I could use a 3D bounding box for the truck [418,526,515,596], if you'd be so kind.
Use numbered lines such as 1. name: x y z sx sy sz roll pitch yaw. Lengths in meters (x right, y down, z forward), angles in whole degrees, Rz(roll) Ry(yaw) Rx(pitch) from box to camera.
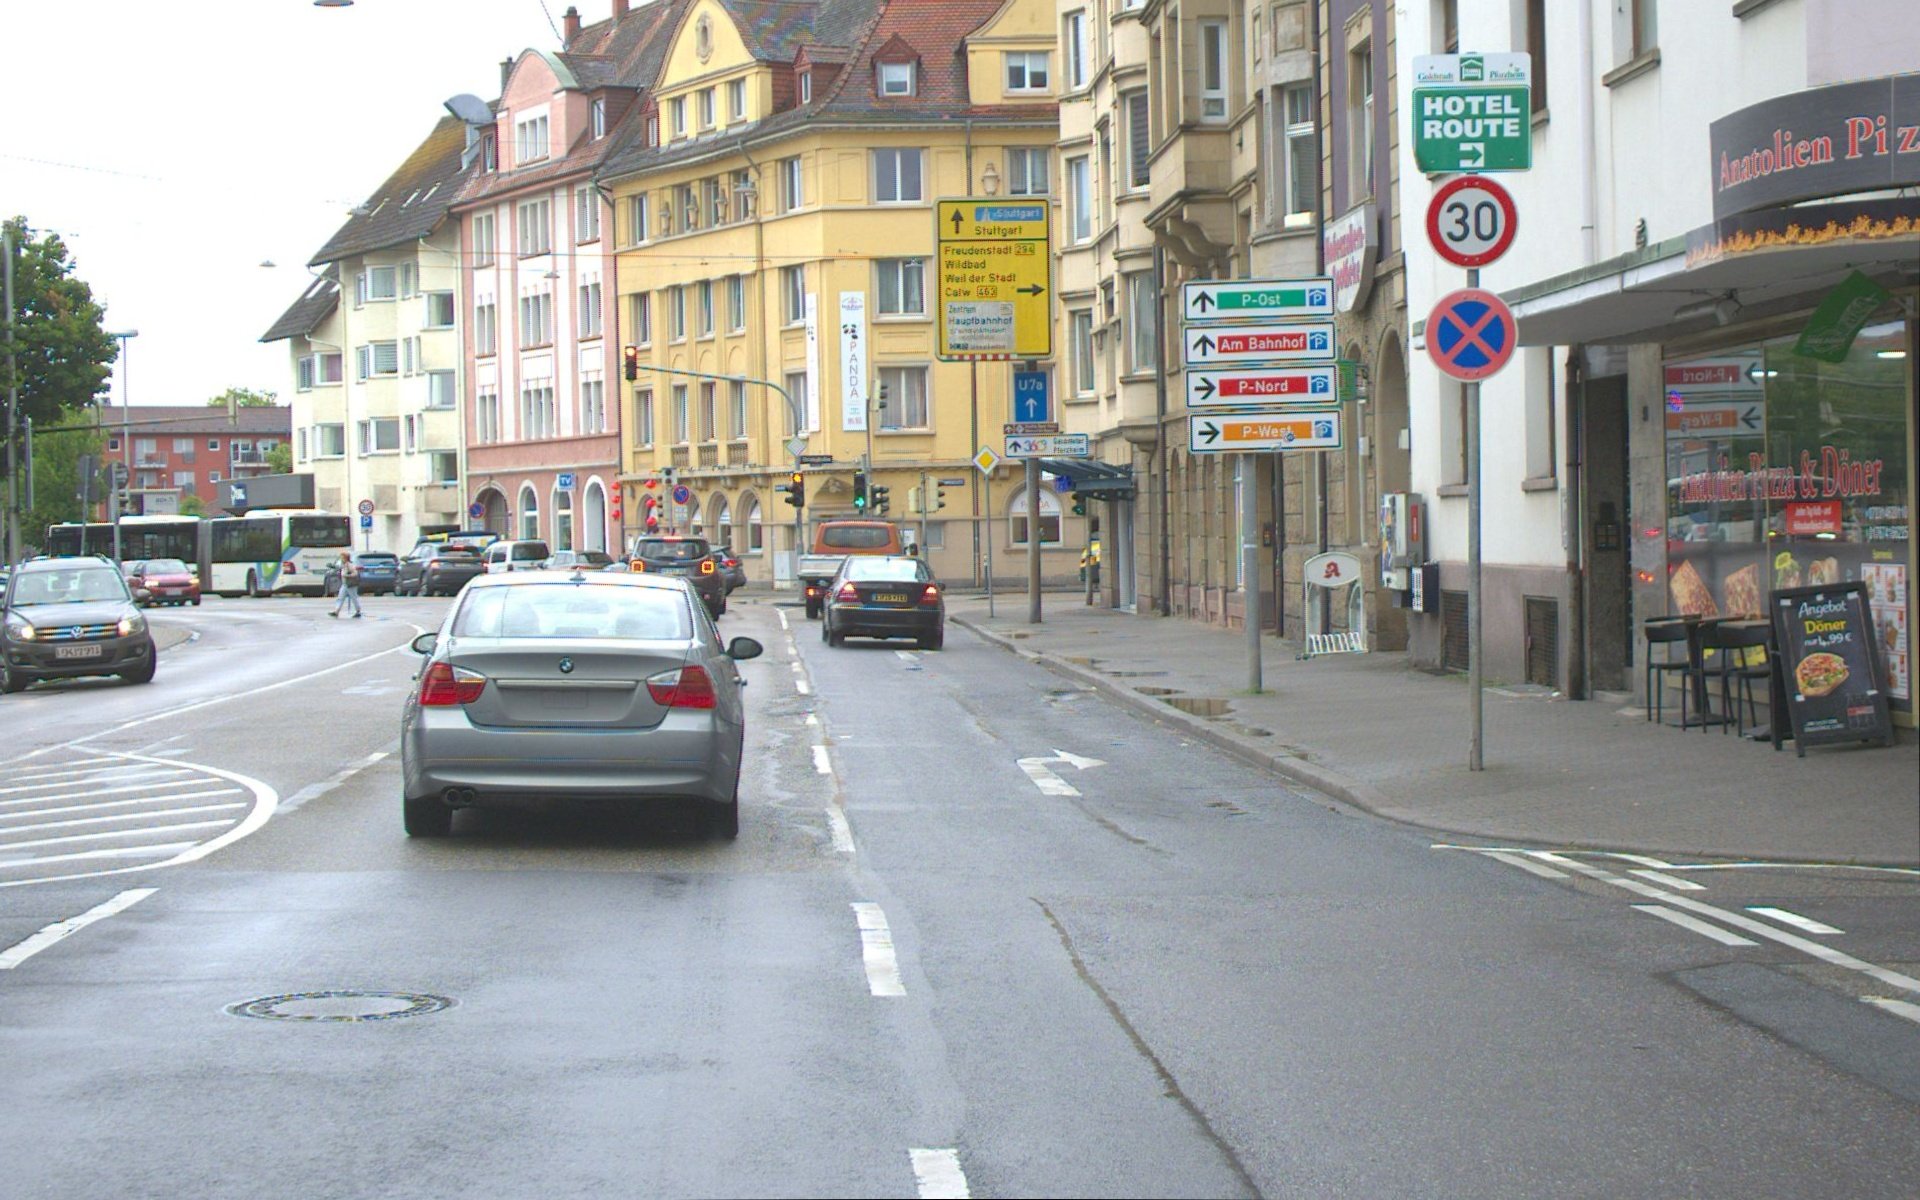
1. truck: -17.366 -1.384 120.764 2.026 2.381 4.237 0 1 -29

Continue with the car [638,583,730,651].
1. car: -5.917 0.337 73.208 1.802 1.401 4.685 0 0 -6

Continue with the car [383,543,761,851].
1. car: -2.075 0.487 19.058 1.799 1.459 4.371 2 0 -5

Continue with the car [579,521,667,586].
1. car: -9.730 -1.324 99.052 1.993 1.809 4.001 -1 0 -13

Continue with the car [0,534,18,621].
1. car: -19.235 -0.477 61.322 4.444 1.521 1.886 2 1 -8

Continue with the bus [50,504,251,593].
1. bus: -29.429 -1.850 124.671 2.910 3.094 8.866 -2 2 -44

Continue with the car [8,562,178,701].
1. car: -11.139 0.361 43.988 1.947 1.653 4.058 -1 1 -16

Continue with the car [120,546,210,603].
1. car: -24.179 -0.787 104.482 1.844 1.678 4.001 -1 1 -25

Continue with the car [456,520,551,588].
1. car: -15.299 -1.544 114.993 1.761 2.173 4.001 2 0 -29

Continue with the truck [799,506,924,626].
1. truck: -1.953 -0.683 66.854 2.224 2.242 5.064 0 1 -4

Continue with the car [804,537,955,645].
1. car: -1.257 -0.134 51.882 1.799 1.558 4.001 0 0 -8

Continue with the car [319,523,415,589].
1. car: -18.587 -1.393 107.646 1.993 2.007 4.001 -1 1 -25

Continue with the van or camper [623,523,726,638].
1. van or camper: -5.542 -0.404 66.335 1.854 2.139 4.143 0 1 -6

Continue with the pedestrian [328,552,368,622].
1. pedestrian: -13.568 -0.292 76.220 0.760 1.524 0.508 1 0 -24

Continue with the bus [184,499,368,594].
1. bus: -23.491 -1.815 117.672 2.909 3.094 9.142 -2 1 -33

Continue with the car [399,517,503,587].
1. car: -14.990 -1.411 101.089 1.993 2.007 4.001 -1 1 -24
